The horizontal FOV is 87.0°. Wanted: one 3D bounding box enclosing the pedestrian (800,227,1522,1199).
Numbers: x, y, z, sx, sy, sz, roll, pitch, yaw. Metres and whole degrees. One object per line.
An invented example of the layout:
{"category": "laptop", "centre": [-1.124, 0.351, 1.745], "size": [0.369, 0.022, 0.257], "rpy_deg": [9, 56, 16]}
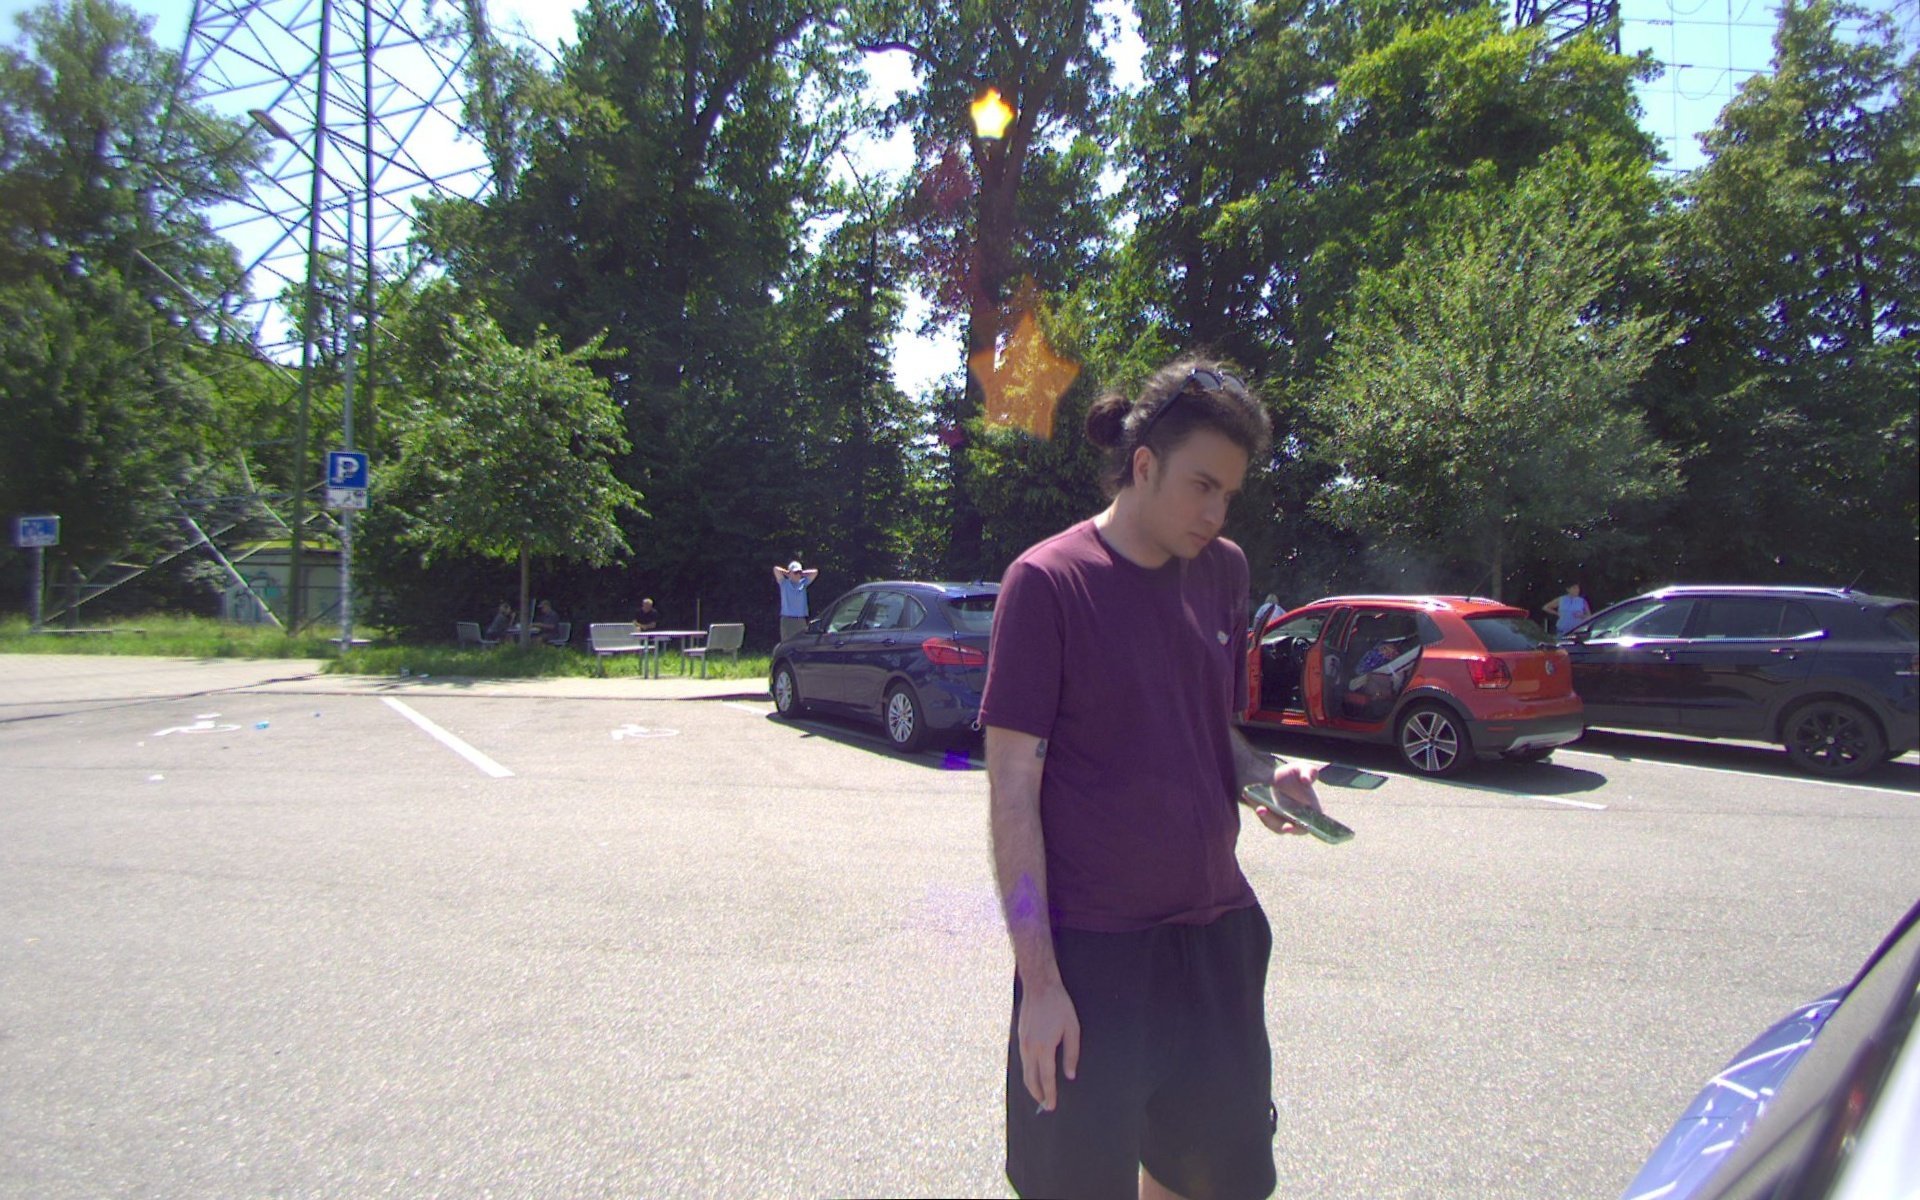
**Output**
{"category": "pedestrian", "centre": [0.304, 0.507, 1.724], "size": [0.845, 1.857, 0.864], "rpy_deg": [0, 0, -35]}

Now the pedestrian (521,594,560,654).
{"category": "pedestrian", "centre": [-9.730, 0.542, 23.476], "size": [0.687, 1.352, 0.563], "rpy_deg": [0, 0, -40]}

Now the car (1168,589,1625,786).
{"category": "car", "centre": [3.883, 0.641, 9.589], "size": [1.559, 1.467, 3.737], "rpy_deg": [1, 0, -33]}

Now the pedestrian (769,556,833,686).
{"category": "pedestrian", "centre": [-2.243, 0.278, 14.187], "size": [0.662, 1.754, 0.835], "rpy_deg": [1, 0, -26]}

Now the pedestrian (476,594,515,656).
{"category": "pedestrian", "centre": [-10.488, 0.552, 22.838], "size": [0.687, 1.352, 0.563], "rpy_deg": [0, 0, -40]}

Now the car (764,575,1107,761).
{"category": "car", "centre": [-0.455, 0.554, 10.663], "size": [1.776, 1.562, 3.940], "rpy_deg": [1, 0, -34]}

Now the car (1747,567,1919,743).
{"category": "car", "centre": [10.761, 0.547, 9.768], "size": [1.961, 1.734, 4.621], "rpy_deg": [0, 1, -31]}

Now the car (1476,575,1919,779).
{"category": "car", "centre": [7.248, 0.591, 9.704], "size": [1.707, 1.607, 3.732], "rpy_deg": [1, 0, -39]}

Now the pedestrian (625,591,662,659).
{"category": "pedestrian", "centre": [-6.659, 0.517, 21.314], "size": [0.553, 1.408, 0.700], "rpy_deg": [0, 0, 2]}

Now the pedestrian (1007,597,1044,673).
{"category": "pedestrian", "centre": [1.098, 0.581, 17.078], "size": [0.576, 1.251, 0.697], "rpy_deg": [0, -1, 1]}

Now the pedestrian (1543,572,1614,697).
{"category": "pedestrian", "centre": [9.367, 0.516, 15.340], "size": [0.752, 1.854, 0.520], "rpy_deg": [0, 0, 5]}

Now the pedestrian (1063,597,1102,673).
{"category": "pedestrian", "centre": [2.045, 0.576, 17.012], "size": [0.576, 1.251, 0.697], "rpy_deg": [0, -1, 1]}
